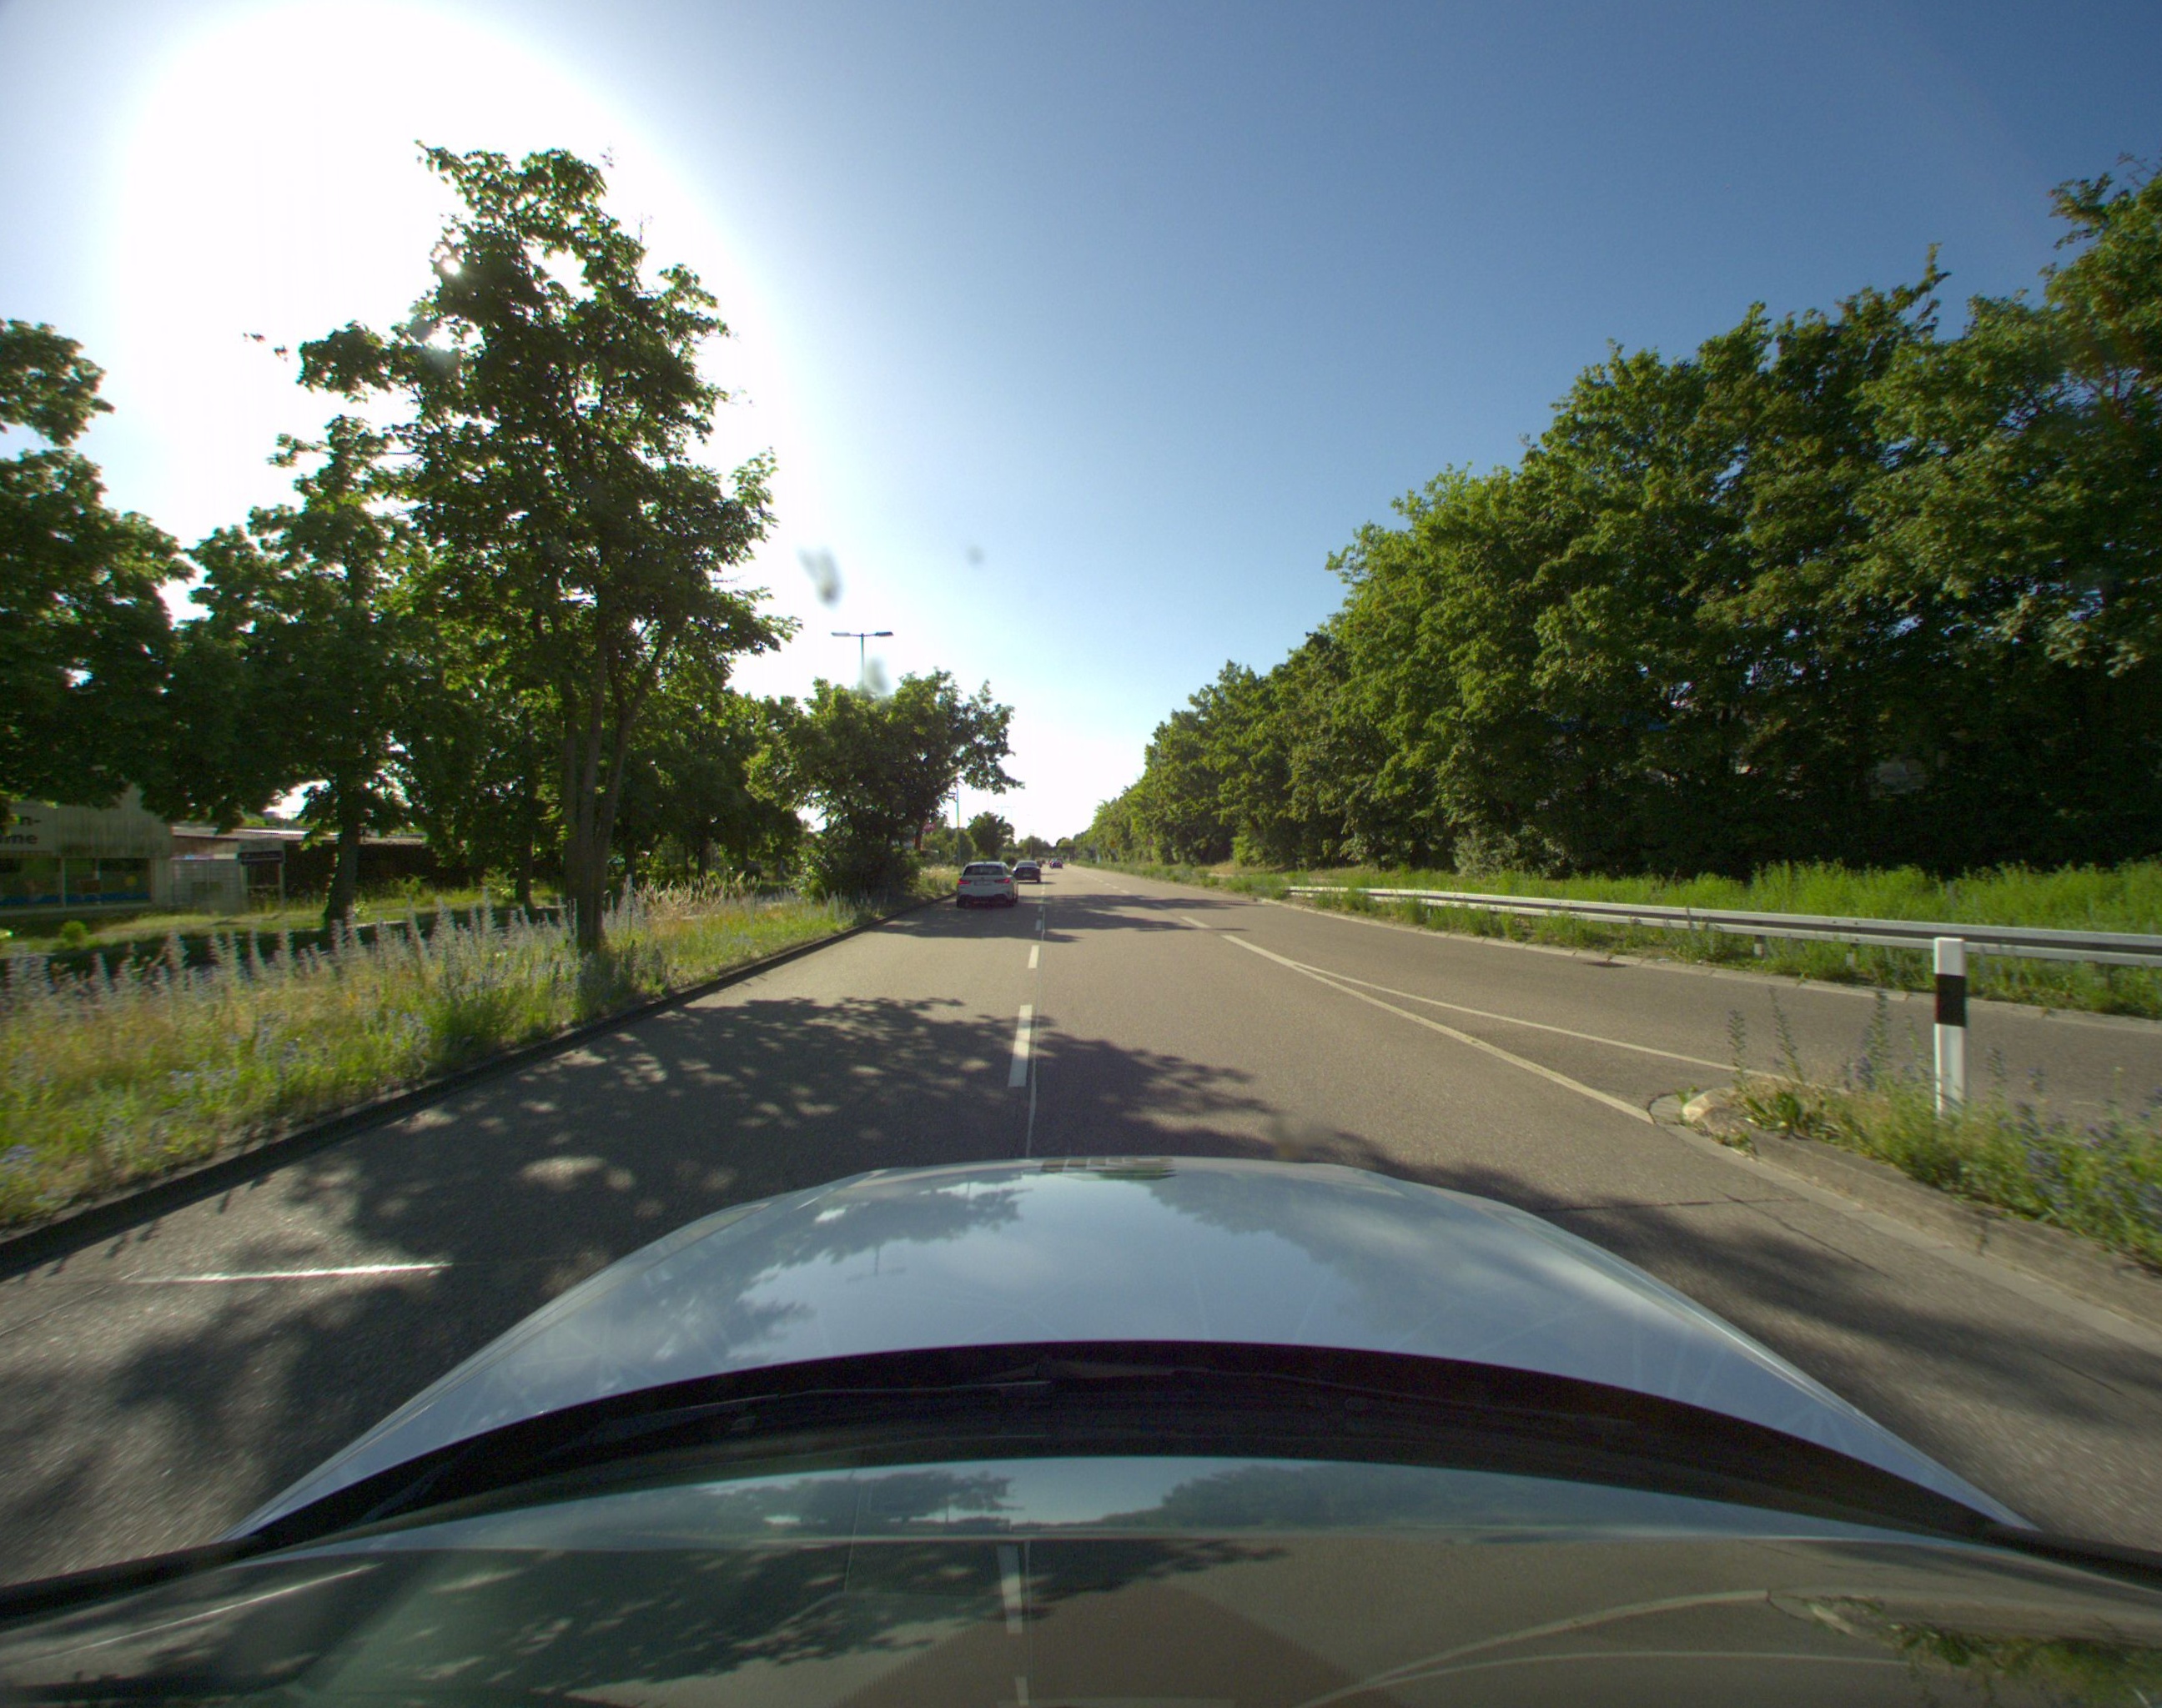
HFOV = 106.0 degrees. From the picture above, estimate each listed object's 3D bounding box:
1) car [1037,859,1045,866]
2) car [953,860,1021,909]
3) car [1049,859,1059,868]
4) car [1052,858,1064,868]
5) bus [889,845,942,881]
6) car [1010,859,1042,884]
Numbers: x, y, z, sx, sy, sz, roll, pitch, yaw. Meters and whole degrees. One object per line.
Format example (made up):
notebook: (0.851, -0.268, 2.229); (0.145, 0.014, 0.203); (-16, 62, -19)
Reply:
car: (-9.145, 1.901, 185.548); (1.857, 1.565, 4.542); (-2, 0, -3)
car: (-3.039, 0.936, 27.200); (1.857, 1.455, 4.544); (-1, 0, -2)
car: (-5.356, 1.845, 158.550); (1.768, 1.555, 3.827); (-2, 0, -4)
car: (-3.866, 1.515, 137.406); (1.857, 1.499, 4.332); (-2, 0, -3)
bus: (-14.387, 0.724, 71.562); (2.715, 2.721, 11.075); (-5, 0, -3)
car: (-3.511, 1.096, 52.624); (1.857, 1.455, 4.543); (-2, 0, -3)
